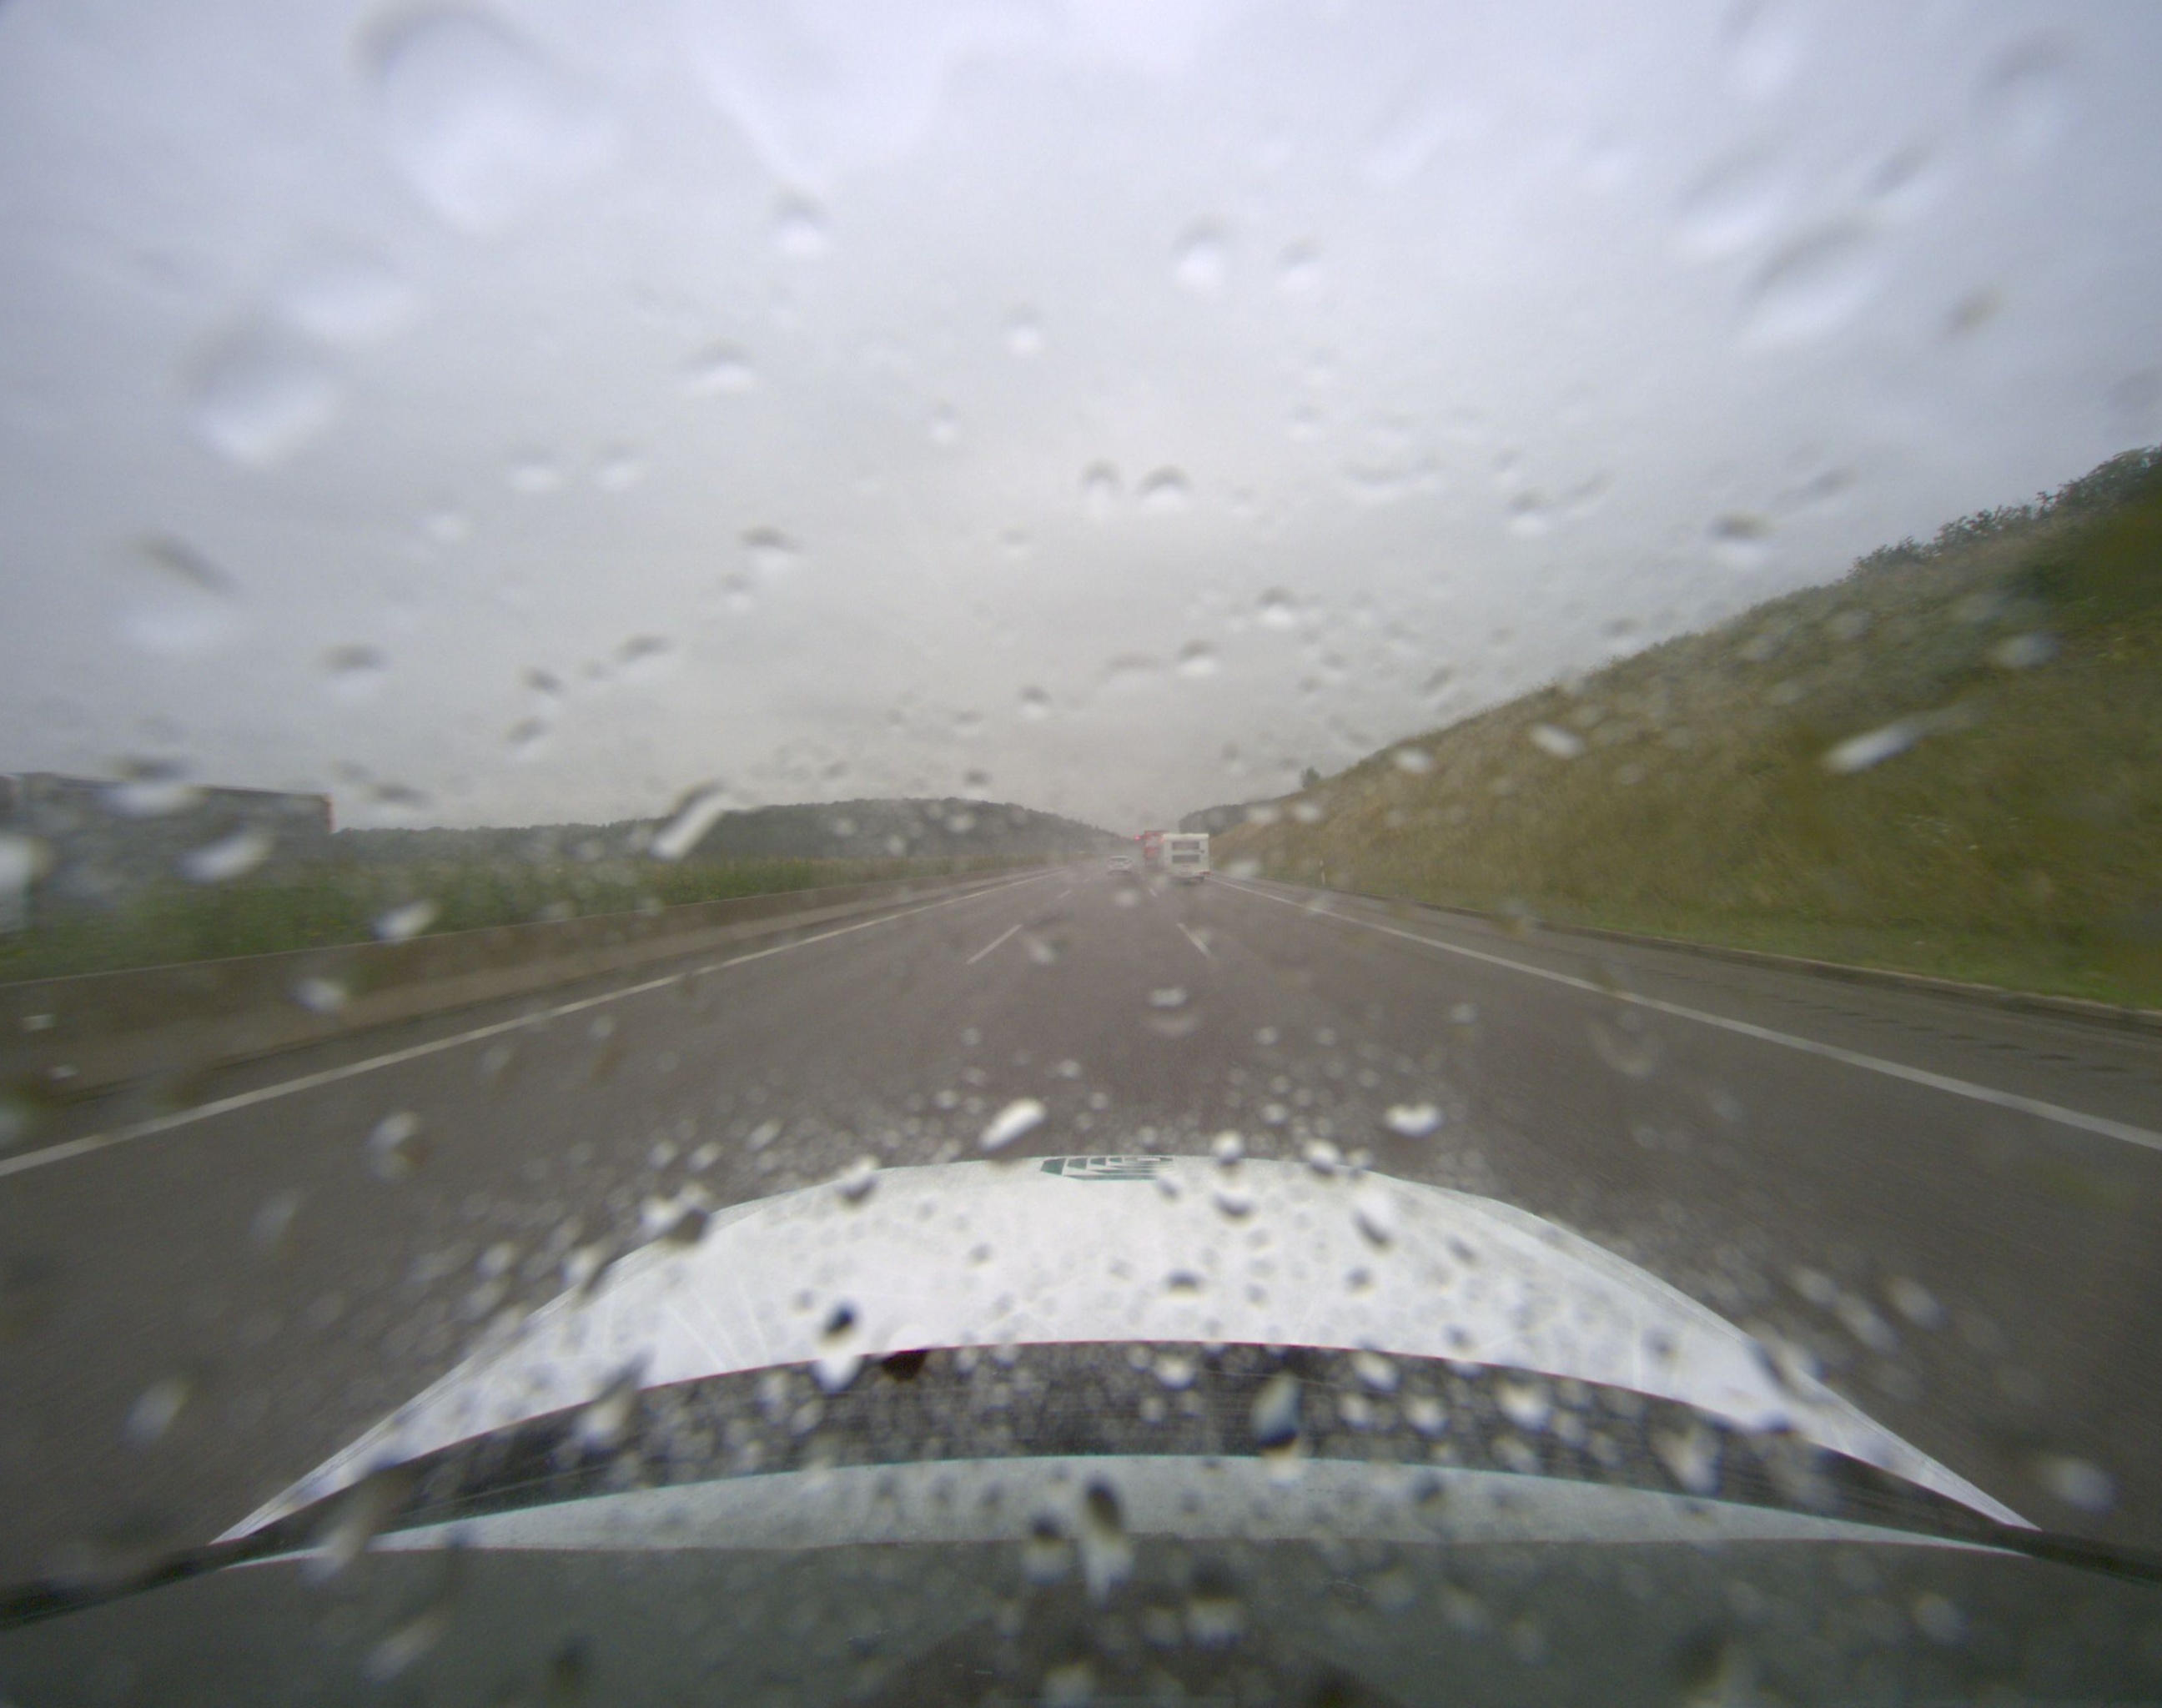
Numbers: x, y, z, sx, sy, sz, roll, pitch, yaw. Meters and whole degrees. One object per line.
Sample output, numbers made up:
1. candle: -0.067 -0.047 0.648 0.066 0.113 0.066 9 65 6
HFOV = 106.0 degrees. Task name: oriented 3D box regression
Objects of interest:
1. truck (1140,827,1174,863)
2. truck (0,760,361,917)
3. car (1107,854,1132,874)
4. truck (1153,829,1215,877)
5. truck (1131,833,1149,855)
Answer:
1. truck: 8.523 -0.948 90.599 3.509 3.743 11.447 0 0 6
2. truck: -17.835 -0.160 15.396 2.165 2.447 6.796 -1 -2 2
3. car: 2.948 0.752 62.699 1.860 1.463 4.001 -1 -1 2
4. truck: 5.112 -0.023 41.212 2.401 2.252 4.690 -1 0 -1
5. truck: 18.972 -3.068 261.273 5.389 6.838 19.478 -1 0 4
